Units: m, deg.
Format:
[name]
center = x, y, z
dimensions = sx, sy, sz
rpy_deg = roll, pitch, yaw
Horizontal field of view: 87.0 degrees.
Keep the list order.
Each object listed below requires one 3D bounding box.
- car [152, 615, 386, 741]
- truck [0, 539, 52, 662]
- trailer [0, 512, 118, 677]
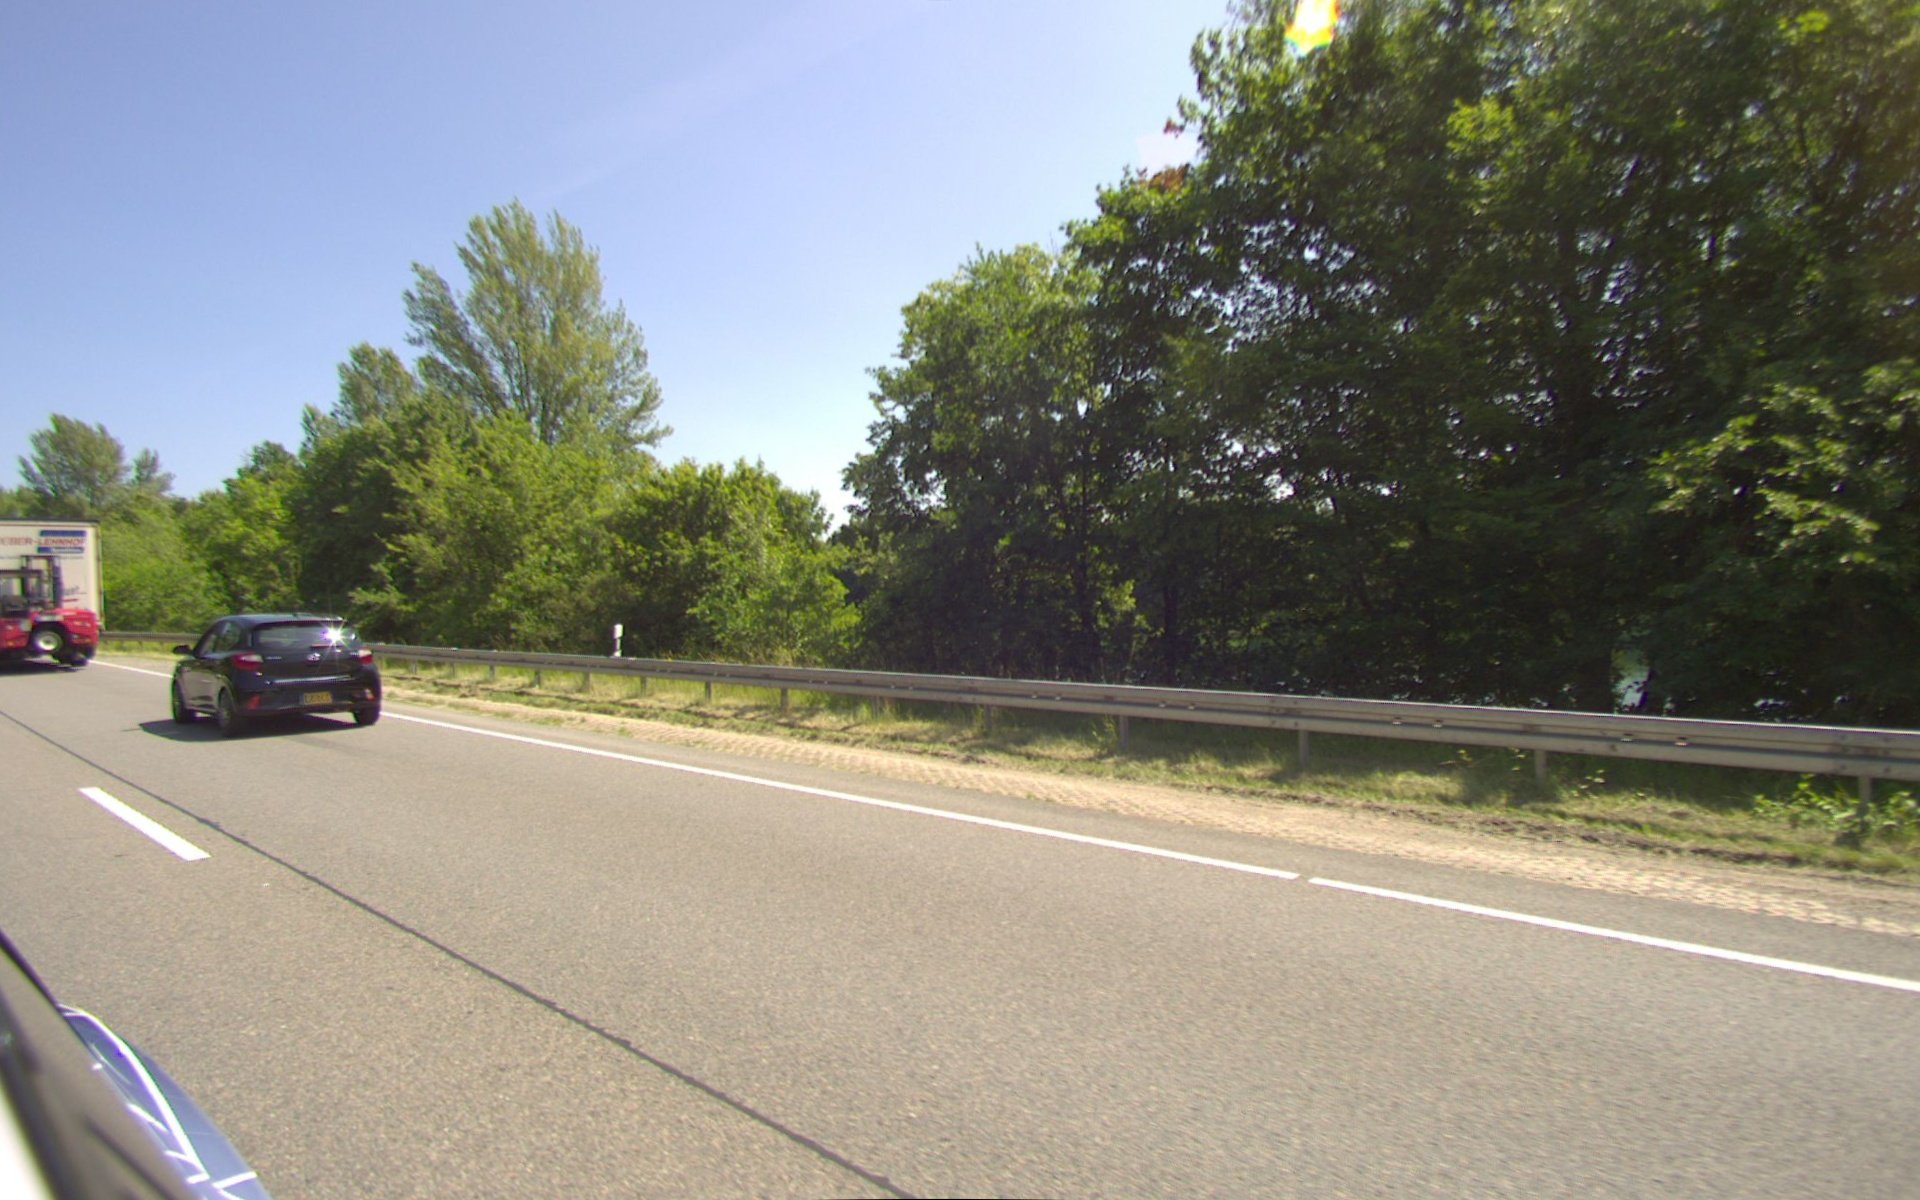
[car]
center = -9.389, 0.929, 13.626
dimensions = 4.178, 1.448, 1.617
rpy_deg = -1, -1, 41
[truck]
center = -33.625, 0.066, 34.917
dimensions = 5.905, 4.029, 2.734
rpy_deg = -1, 0, 42
[trailer]
center = -27.921, -0.041, 29.805
dimensions = 13.681, 4.029, 2.734
rpy_deg = -1, 0, 42
